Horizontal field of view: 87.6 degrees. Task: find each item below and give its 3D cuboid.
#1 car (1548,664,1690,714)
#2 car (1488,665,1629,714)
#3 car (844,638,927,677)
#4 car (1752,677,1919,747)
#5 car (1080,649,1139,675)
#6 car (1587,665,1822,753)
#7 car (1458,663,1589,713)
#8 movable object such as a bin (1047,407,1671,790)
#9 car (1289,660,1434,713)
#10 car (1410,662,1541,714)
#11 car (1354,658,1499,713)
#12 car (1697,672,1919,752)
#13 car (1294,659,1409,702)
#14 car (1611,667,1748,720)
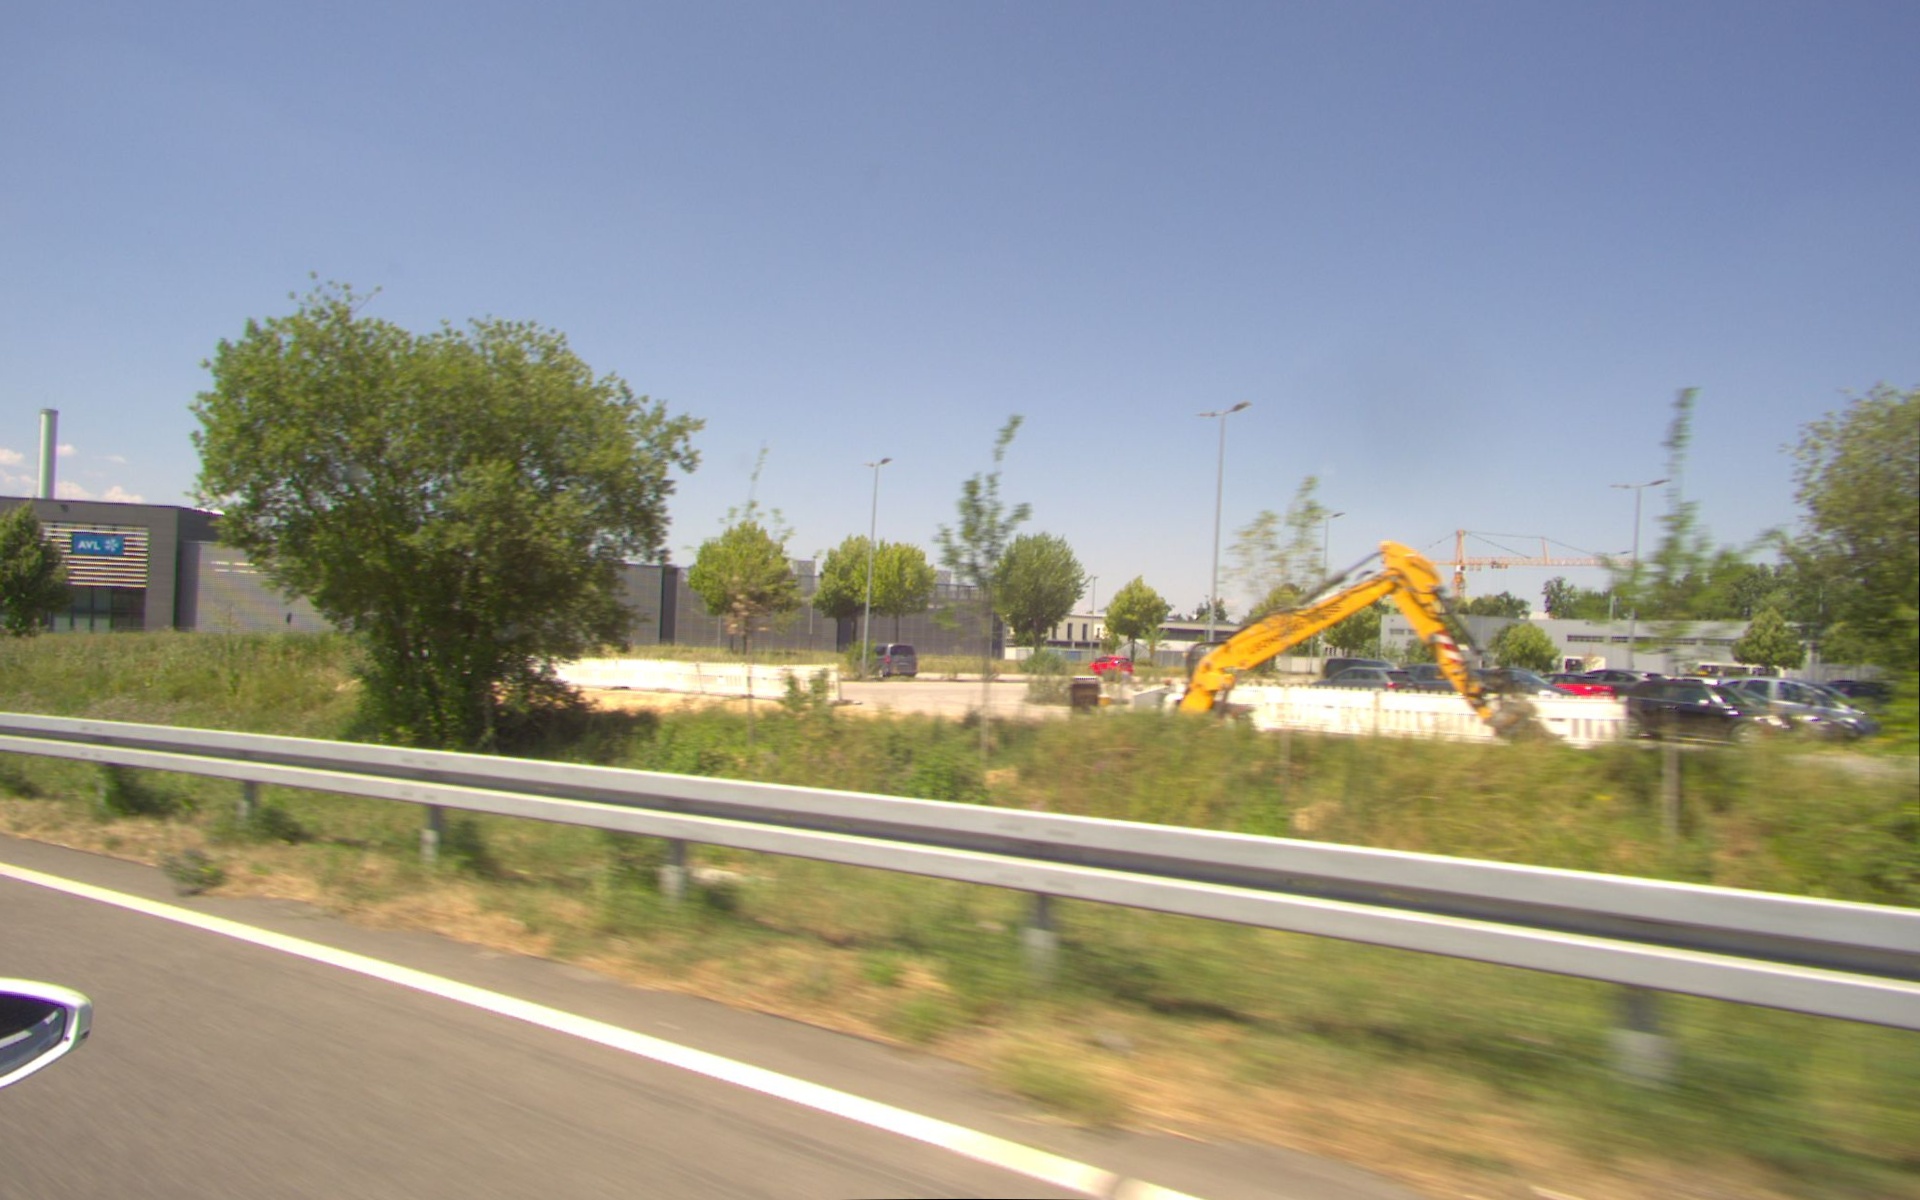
[{"bbox_3d":[25.831,3.451,39.427,1.916,1.706,4.410,1,-2,-22],"label":"car"},{"bbox_3d":[23.372,3.444,39.289,1.916,1.657,4.507,1,-2,-22],"label":"car"},{"bbox_3d":[-3.868,2.879,50.784,2.073,1.838,5.316,2,-3,-30],"label":"car"},{"bbox_3d":[24.722,3.025,27.575,1.970,1.564,4.138,1,-1,-27],"label":"car"},{"bbox_3d":[10.318,4.266,69.458,2.068,1.706,4.529,2,-3,-22],"label":"car"},{"bbox_3d":[17.312,2.458,23.479,1.971,1.694,3.981,1,-1,-29],"label":"car"},{"bbox_3d":[21.104,3.261,37.700,1.916,1.657,3.988,1,-2,-23],"label":"car"},{"bbox_3d":[6.506,-0.112,17.544,9.081,5.328,3.424,3,-1,28],"label":"movable object such as a bin"},{"bbox_3d":[13.707,2.911,34.511,1.968,1.527,4.598,1,-1,-24],"label":"car"},{"bbox_3d":[18.861,3.173,36.815,1.916,1.657,3.988,1,-2,-23],"label":"car"},{"bbox_3d":[16.445,2.969,35.573,1.982,1.657,4.576,1,-2,-22],"label":"car"},{"bbox_3d":[21.809,2.794,25.802,1.970,1.655,4.137,1,-1,-28],"label":"car"},{"bbox_3d":[17.163,3.489,44.123,2.071,1.706,4.523,2,-3,-26],"label":"car"},{"bbox_3d":[30.636,3.924,42.790,1.916,1.949,4.410,1,-2,-23],"label":"car"}]
